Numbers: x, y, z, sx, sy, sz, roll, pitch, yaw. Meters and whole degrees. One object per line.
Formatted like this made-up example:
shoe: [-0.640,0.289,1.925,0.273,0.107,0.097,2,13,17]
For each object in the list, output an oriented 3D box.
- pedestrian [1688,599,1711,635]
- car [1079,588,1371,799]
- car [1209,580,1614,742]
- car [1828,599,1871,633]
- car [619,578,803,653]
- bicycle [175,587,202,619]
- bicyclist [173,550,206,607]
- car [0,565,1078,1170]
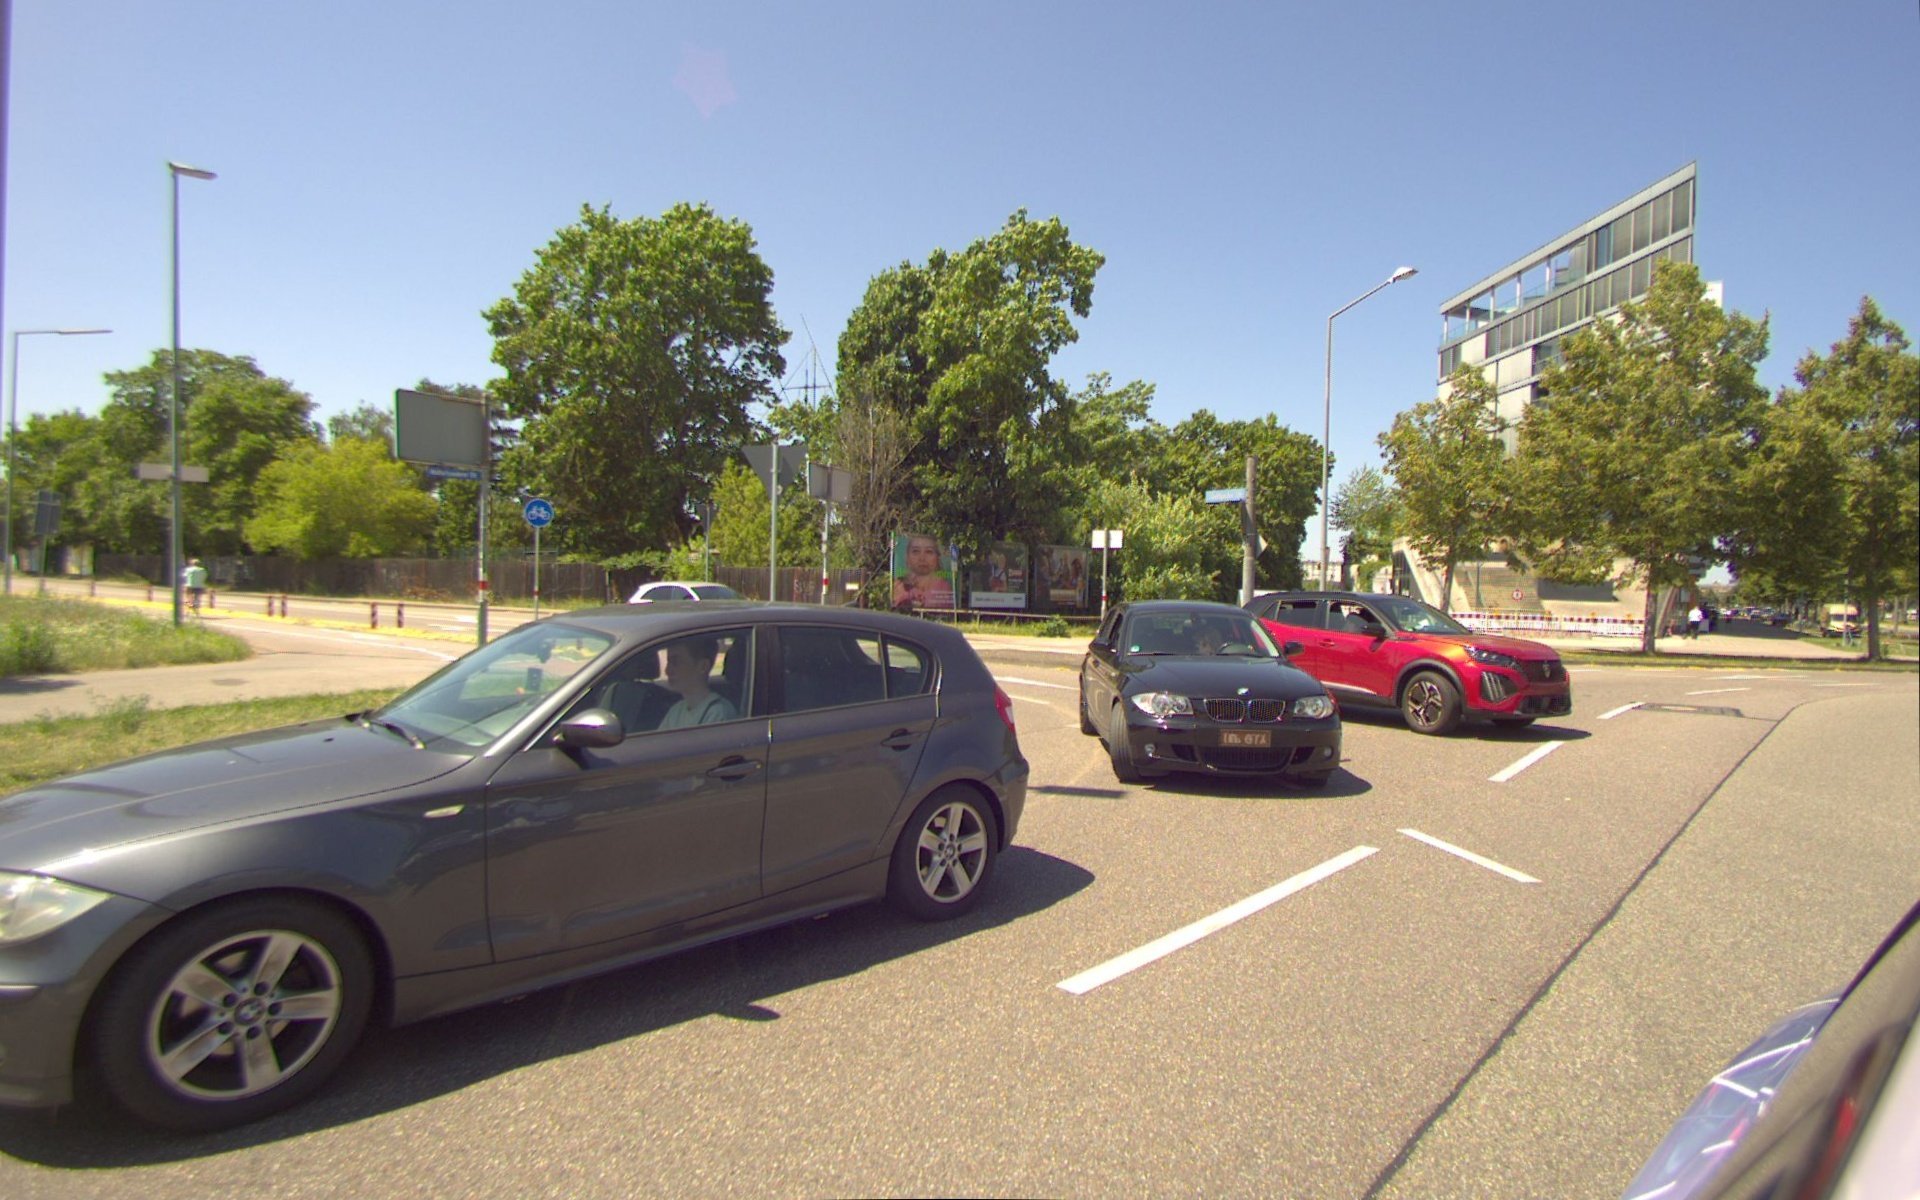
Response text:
pedestrian: [40.189,0.897,54.971,0.601,1.892,0.834,-1,2,-40]
car: [2.092,0.629,9.118,1.770,1.458,3.997,0,1,3]
car: [5.120,0.567,12.093,1.687,1.546,4.216,1,1,-30]
car: [71.446,1.263,81.317,1.986,2.540,3.952,2,0,33]
car: [-5.561,0.269,22.441,3.976,1.446,1.840,2,2,36]
bicycle: [-23.079,0.067,30.296,0.617,0.890,1.875,0,2,-37]
bicyclist: [-23.060,-0.652,30.295,0.735,1.661,1.162,1,0,-37]
car: [-1.497,0.632,4.244,4.010,1.421,1.750,1,0,-42]
